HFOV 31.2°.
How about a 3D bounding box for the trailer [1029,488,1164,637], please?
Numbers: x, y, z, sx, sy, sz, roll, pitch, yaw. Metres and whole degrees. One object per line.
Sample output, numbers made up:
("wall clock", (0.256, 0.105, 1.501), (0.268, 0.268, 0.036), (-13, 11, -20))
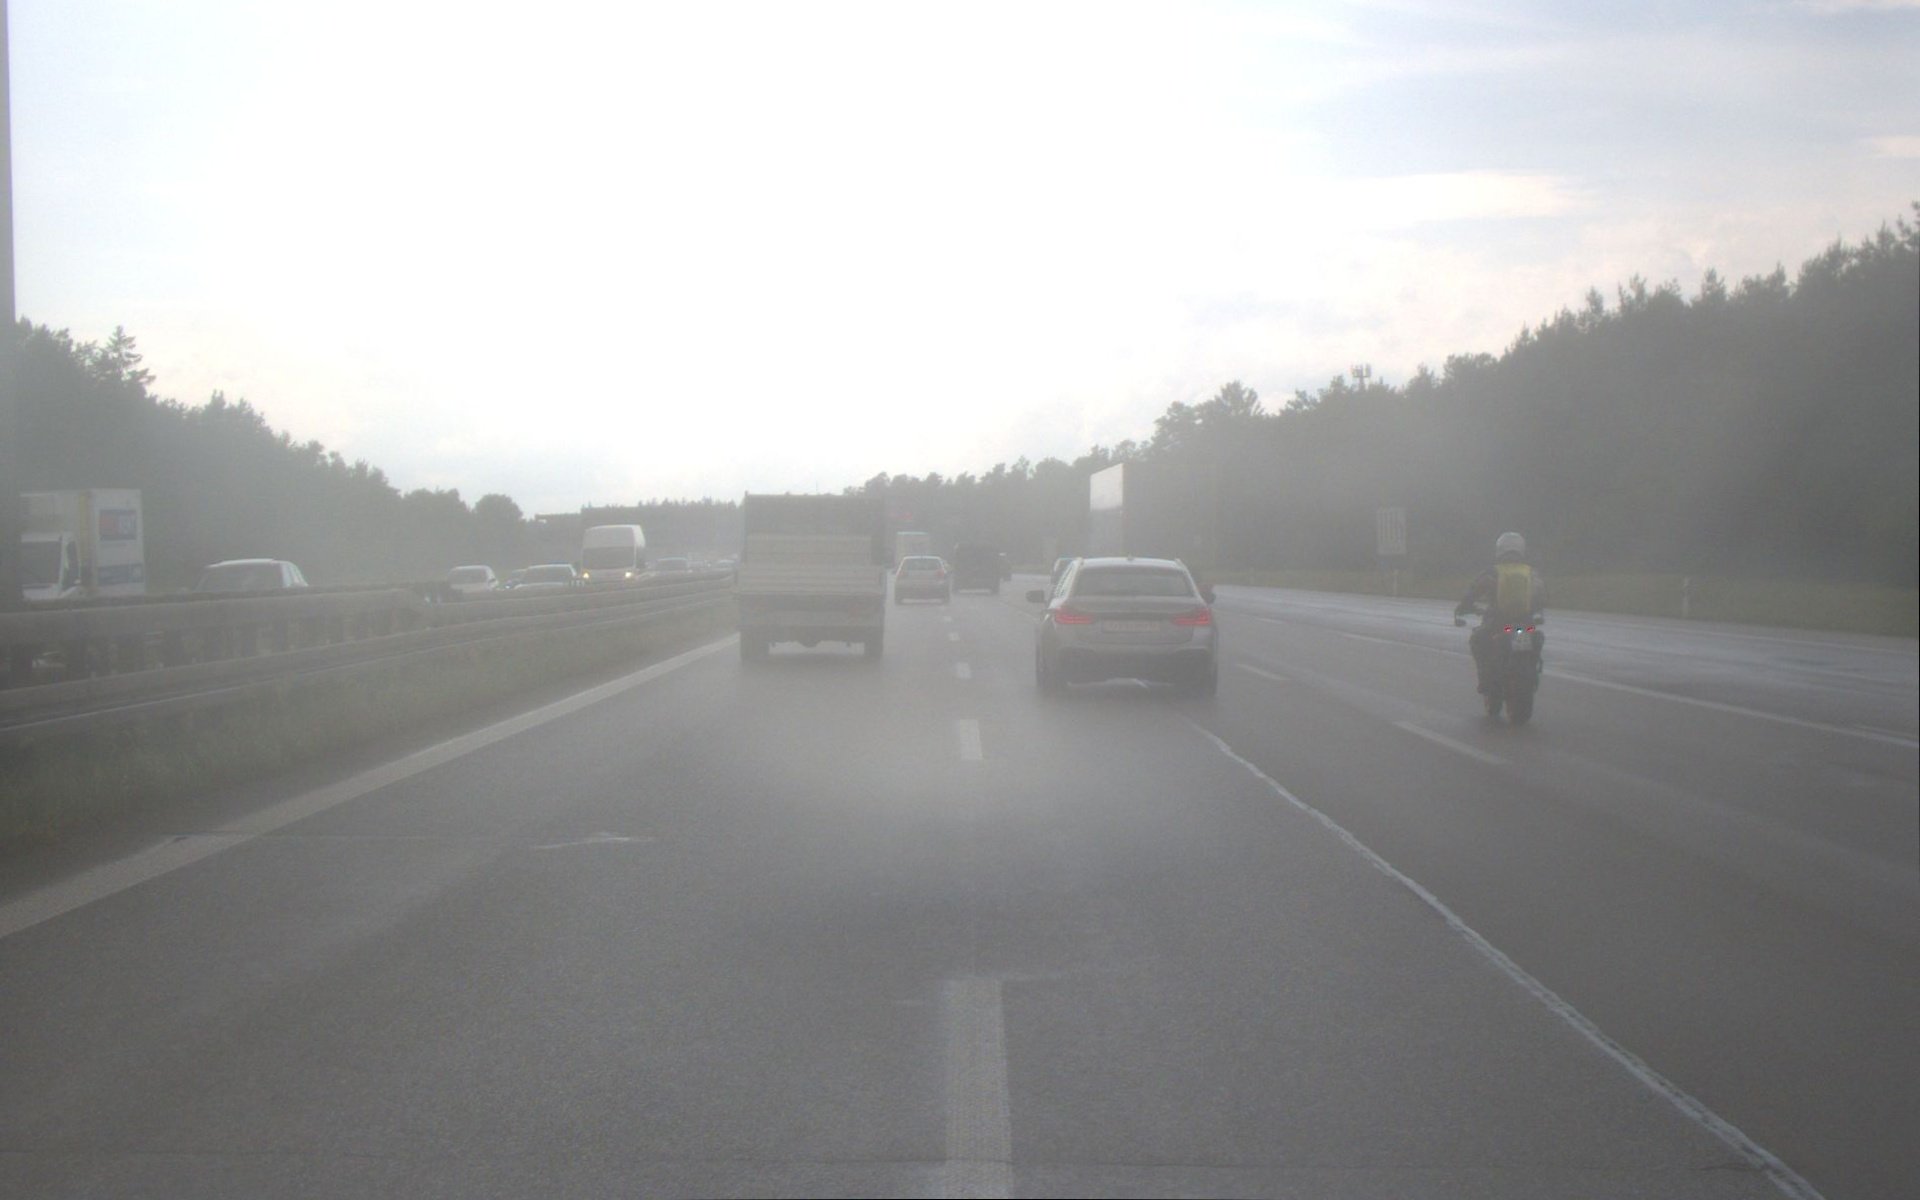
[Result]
("trailer", (3.807, -1.065, 99.139), (2.323, 3.988, 13.414), (0, 0, -4))

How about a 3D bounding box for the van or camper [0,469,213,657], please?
("van or camper", (-15.306, -0.667, 60.845), (2.301, 3.102, 7.543), (-1, 1, 2))

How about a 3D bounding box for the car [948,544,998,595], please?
("car", (0.517, -1.232, 139.090), (1.908, 2.007, 4.000), (0, 1, -1))

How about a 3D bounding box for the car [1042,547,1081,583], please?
("car", (5.804, -1.992, 196.736), (1.993, 2.007, 4.000), (1, 0, -1))

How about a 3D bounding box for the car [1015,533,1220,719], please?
("car", (1.722, 0.229, 37.777), (2.078, 1.878, 5.011), (1, 1, 3))

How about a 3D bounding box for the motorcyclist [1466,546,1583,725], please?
("motorcyclist", (5.145, 0.312, 31.374), (0.891, 1.609, 0.959), (0, 0, 0))

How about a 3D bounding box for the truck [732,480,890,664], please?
("truck", (-2.117, -0.410, 49.280), (2.137, 2.480, 5.313), (0, 1, -2))

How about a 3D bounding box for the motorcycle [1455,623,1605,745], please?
("motorcycle", (5.183, 0.747, 31.410), (1.000, 1.028, 2.174), (0, 1, 0))

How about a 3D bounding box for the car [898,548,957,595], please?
("car", (-1.019, -0.909, 108.912), (1.831, 1.461, 4.000), (1, 1, 0))
